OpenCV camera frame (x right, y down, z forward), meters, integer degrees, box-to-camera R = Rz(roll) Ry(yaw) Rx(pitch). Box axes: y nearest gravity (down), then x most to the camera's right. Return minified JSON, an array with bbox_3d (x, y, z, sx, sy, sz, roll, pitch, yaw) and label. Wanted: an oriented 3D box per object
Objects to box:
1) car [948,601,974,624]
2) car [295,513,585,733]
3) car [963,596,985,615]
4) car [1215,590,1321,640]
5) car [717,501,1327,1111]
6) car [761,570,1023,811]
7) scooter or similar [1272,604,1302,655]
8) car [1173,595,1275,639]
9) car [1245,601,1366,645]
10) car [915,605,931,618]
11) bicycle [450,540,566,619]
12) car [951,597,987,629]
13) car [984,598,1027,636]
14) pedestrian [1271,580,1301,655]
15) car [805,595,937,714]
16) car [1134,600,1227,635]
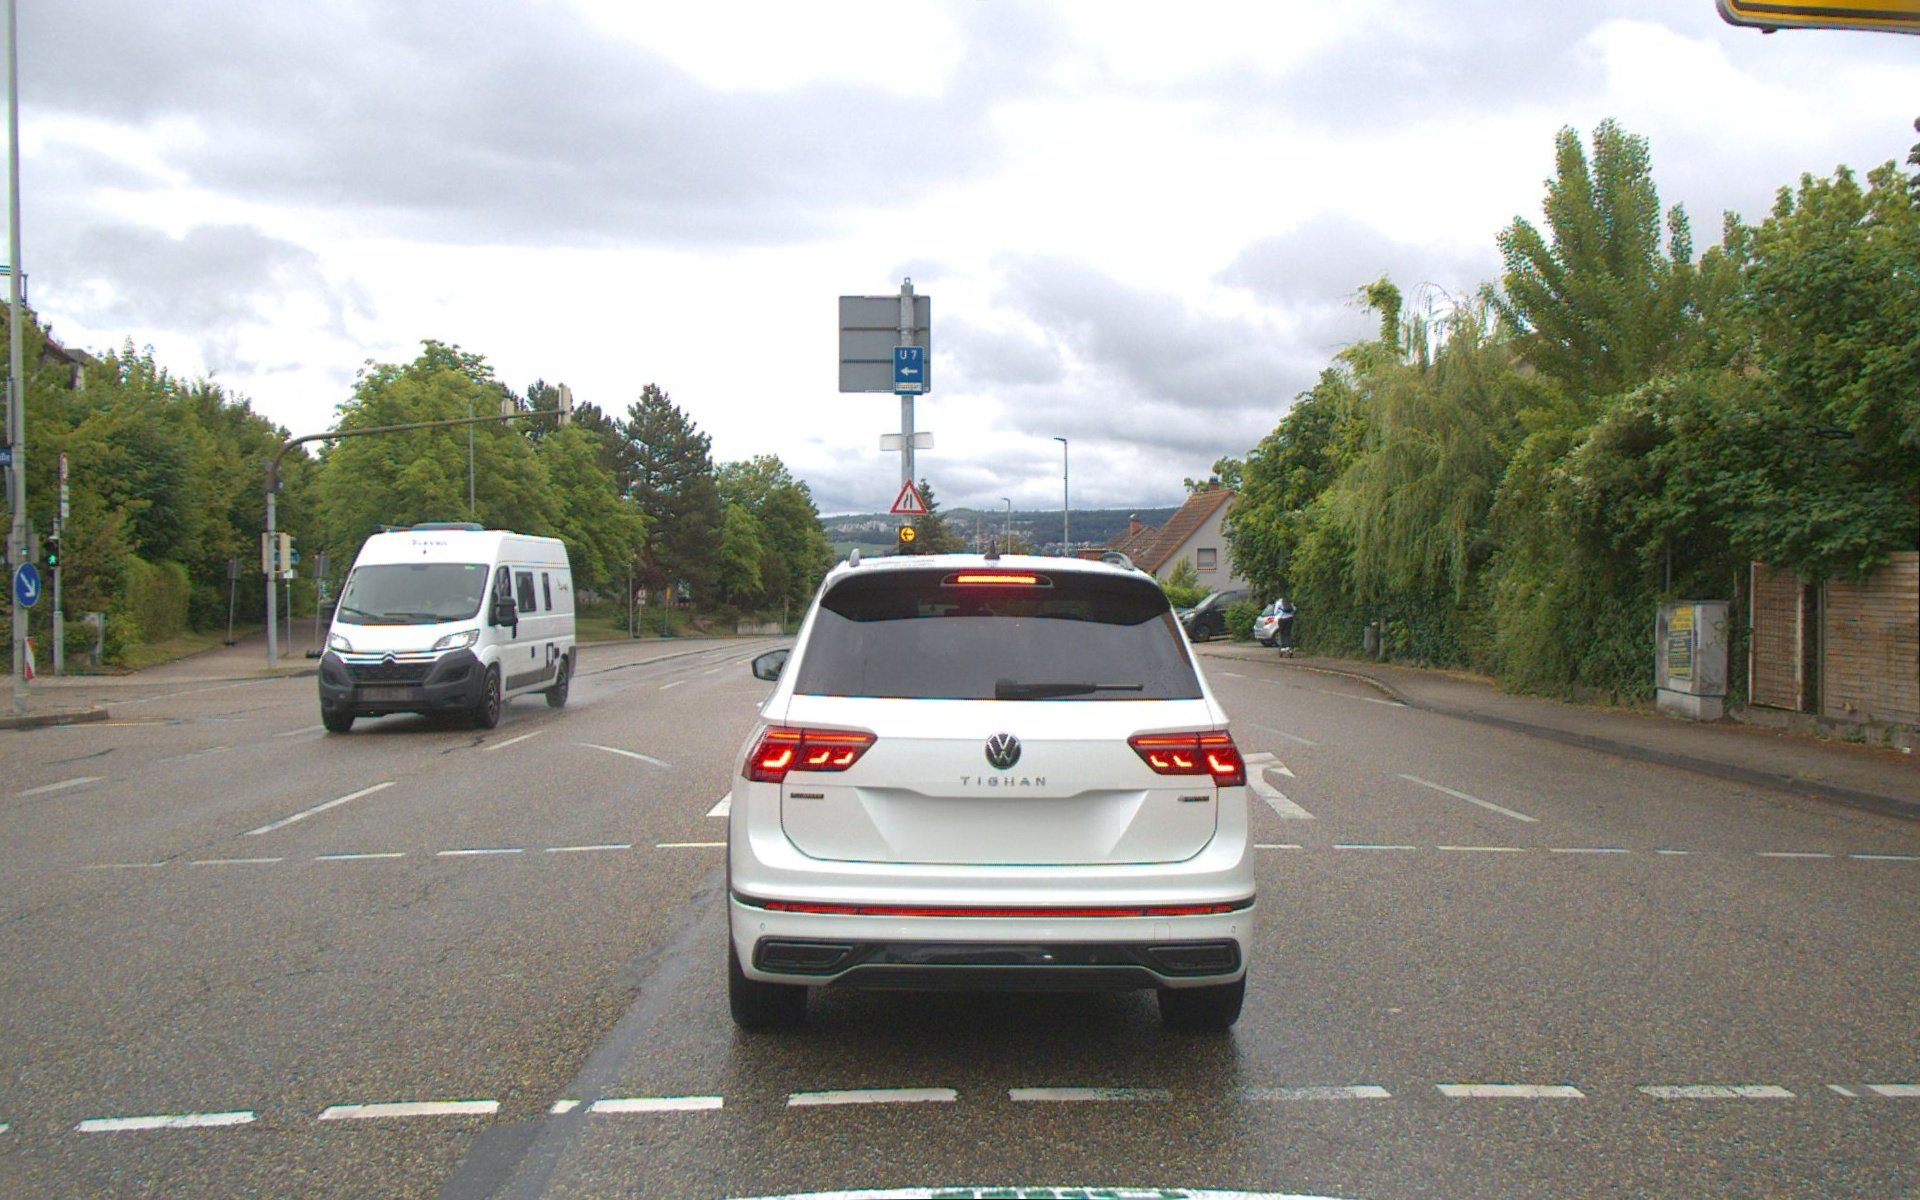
[{"bbox_3d":[0.036,0.909,119.728,1.813,1.602,4.000,0,0,-1],"label":"car"},{"bbox_3d":[-6.760,0.250,22.311,2.251,2.572,5.771,0,0,-2],"label":"car"},{"bbox_3d":[1.211,0.491,145.215,1.813,1.602,3.999,-1,0,-1],"label":"car"},{"bbox_3d":[11.412,0.550,61.460,3.556,1.777,1.706,0,1,-5],"label":"car"},{"bbox_3d":[0.127,0.599,6.954,1.727,1.725,4.271,2,0,-2],"label":"car"},{"bbox_3d":[-0.415,0.612,13.237,1.761,1.617,3.927,-1,0,1],"label":"car"},{"bbox_3d":[8.987,0.810,45.529,0.452,1.385,1.383,0,0,-4],"label":"scooter or similar"},{"bbox_3d":[10.147,0.650,63.744,3.556,1.655,1.789,0,0,-5],"label":"car"},{"bbox_3d":[11.696,0.780,56.061,3.644,1.420,1.725,-1,-1,-8],"label":"car"},{"bbox_3d":[-4.499,1.399,200.904,1.813,1.602,3.999,-1,0,-1],"label":"car"},{"bbox_3d":[-6.941,-0.313,25.428,1.603,1.145,0.468,-2,1,-3],"label":"bicycle"},{"bbox_3d":[0.416,0.596,79.167,1.631,1.452,4.304,0,0,-1],"label":"car"},{"bbox_3d":[1.808,0.666,66.403,1.592,1.427,3.689,1,0,0],"label":"car"},{"bbox_3d":[9.005,0.478,45.640,0.642,2.037,0.717,0,0,-4],"label":"pedestrian"},{"bbox_3d":[-1.290,0.708,23.703,1.725,1.505,3.997,0,1,-4],"label":"car"},{"bbox_3d":[9.134,0.737,68.584,3.613,1.394,1.518,1,-2,-3],"label":"car"}]
